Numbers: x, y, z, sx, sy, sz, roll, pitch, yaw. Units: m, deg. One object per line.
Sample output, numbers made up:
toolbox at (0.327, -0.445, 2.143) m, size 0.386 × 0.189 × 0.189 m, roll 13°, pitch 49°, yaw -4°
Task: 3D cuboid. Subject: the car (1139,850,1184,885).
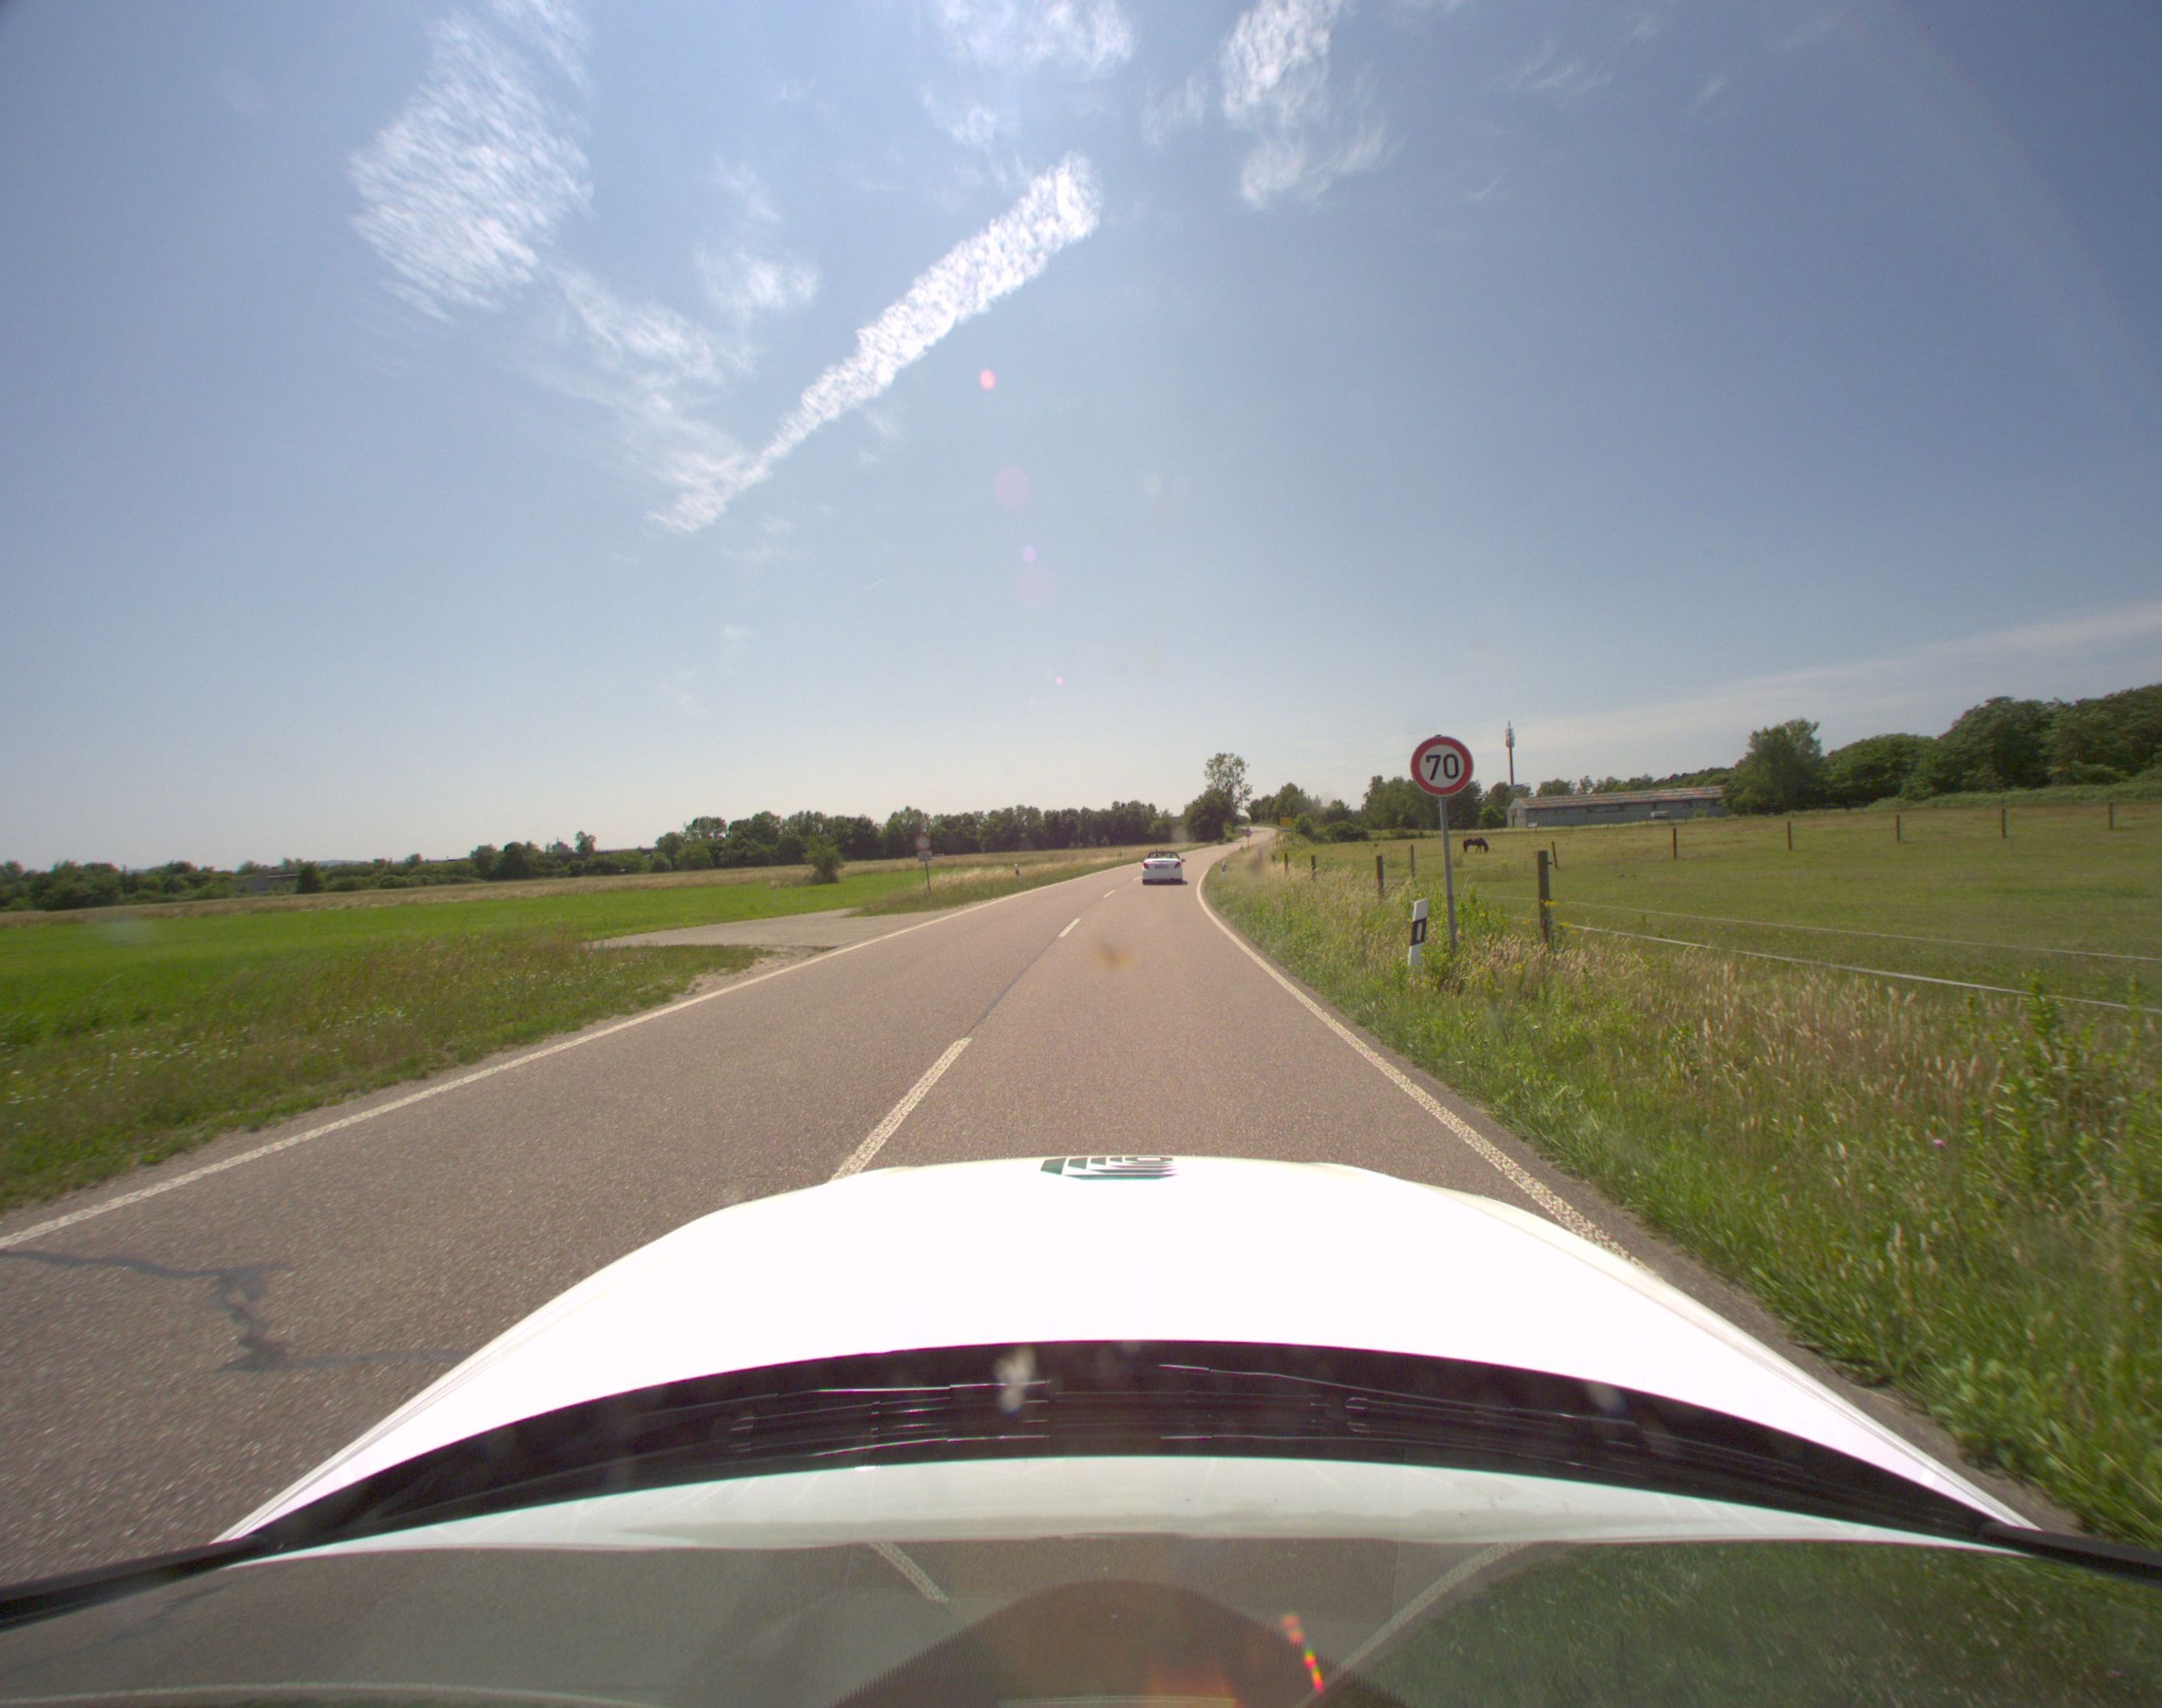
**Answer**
car at (3.585, 0.549, 35.712) m, size 1.841 × 1.379 × 4.008 m, roll 0°, pitch 1°, yaw 7°
